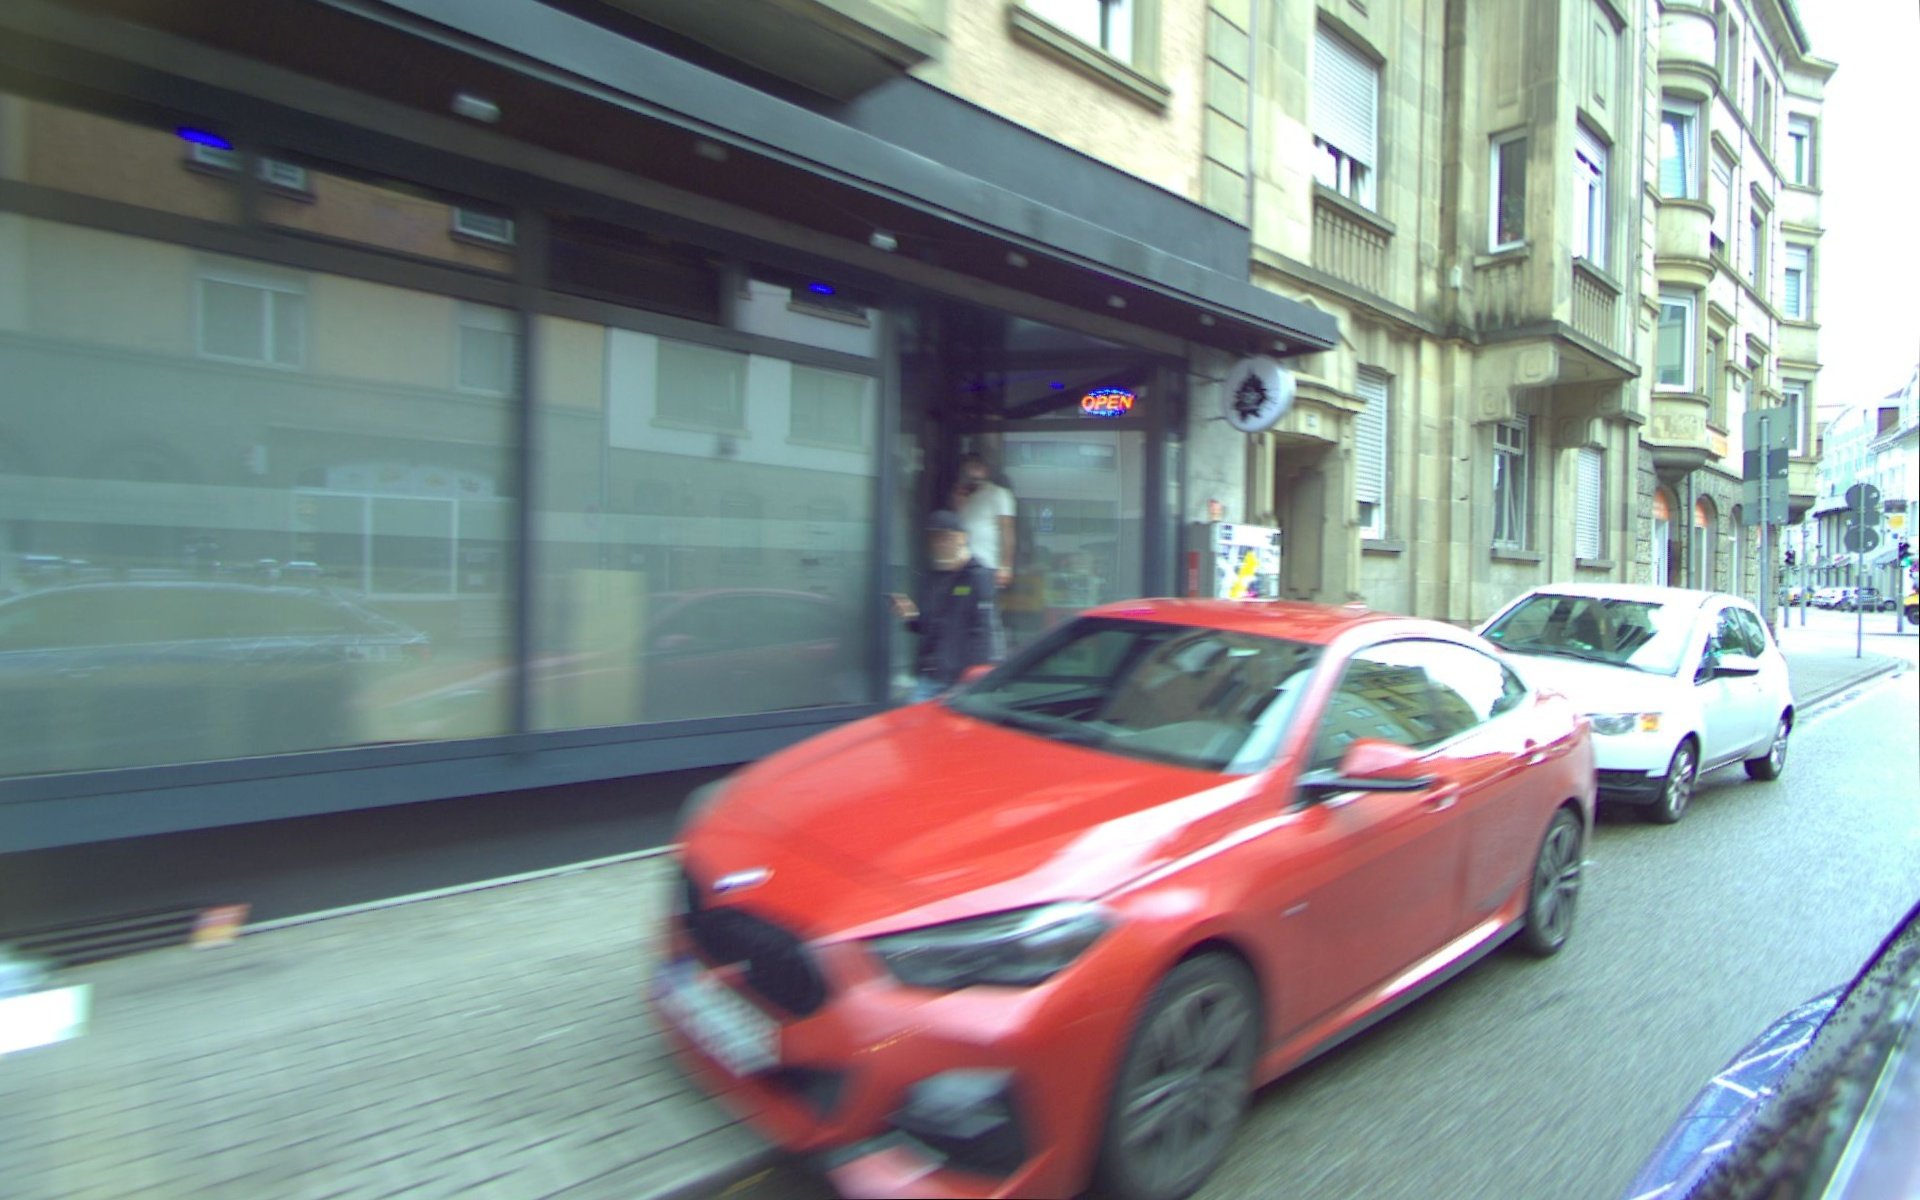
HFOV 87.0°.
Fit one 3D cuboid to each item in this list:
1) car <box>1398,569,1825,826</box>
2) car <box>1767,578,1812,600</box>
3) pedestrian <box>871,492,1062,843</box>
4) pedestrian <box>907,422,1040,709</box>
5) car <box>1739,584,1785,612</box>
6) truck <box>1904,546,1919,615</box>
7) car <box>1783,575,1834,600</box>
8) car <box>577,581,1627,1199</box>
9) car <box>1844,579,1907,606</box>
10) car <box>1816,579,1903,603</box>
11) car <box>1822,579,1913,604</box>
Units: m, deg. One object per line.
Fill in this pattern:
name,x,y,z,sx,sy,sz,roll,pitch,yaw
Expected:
car,5.348,0.522,8.053,4.370,1.512,1.651,-1,2,-40
car,64.769,-0.854,79.088,1.982,1.604,3.960,1,2,29
pedestrian,0.034,0.330,5.726,0.783,1.801,0.744,-1,2,-44
pedestrian,0.092,-0.243,7.243,0.639,1.917,0.704,-1,2,-44
car,59.657,-0.170,75.320,1.982,1.938,3.960,1,2,29
truck,40.091,-0.686,38.183,2.192,2.784,7.028,0,2,-1
car,61.856,-0.908,73.838,1.982,1.605,3.960,-5,-1,29
car,0.957,0.654,3.931,4.241,1.386,1.746,0,2,-43
car,56.570,-0.479,62.600,1.983,1.526,3.960,1,2,29
car,60.293,-0.612,67.923,3.962,1.526,1.981,1,2,28
car,58.906,-0.549,65.792,3.962,1.526,1.981,1,2,28
